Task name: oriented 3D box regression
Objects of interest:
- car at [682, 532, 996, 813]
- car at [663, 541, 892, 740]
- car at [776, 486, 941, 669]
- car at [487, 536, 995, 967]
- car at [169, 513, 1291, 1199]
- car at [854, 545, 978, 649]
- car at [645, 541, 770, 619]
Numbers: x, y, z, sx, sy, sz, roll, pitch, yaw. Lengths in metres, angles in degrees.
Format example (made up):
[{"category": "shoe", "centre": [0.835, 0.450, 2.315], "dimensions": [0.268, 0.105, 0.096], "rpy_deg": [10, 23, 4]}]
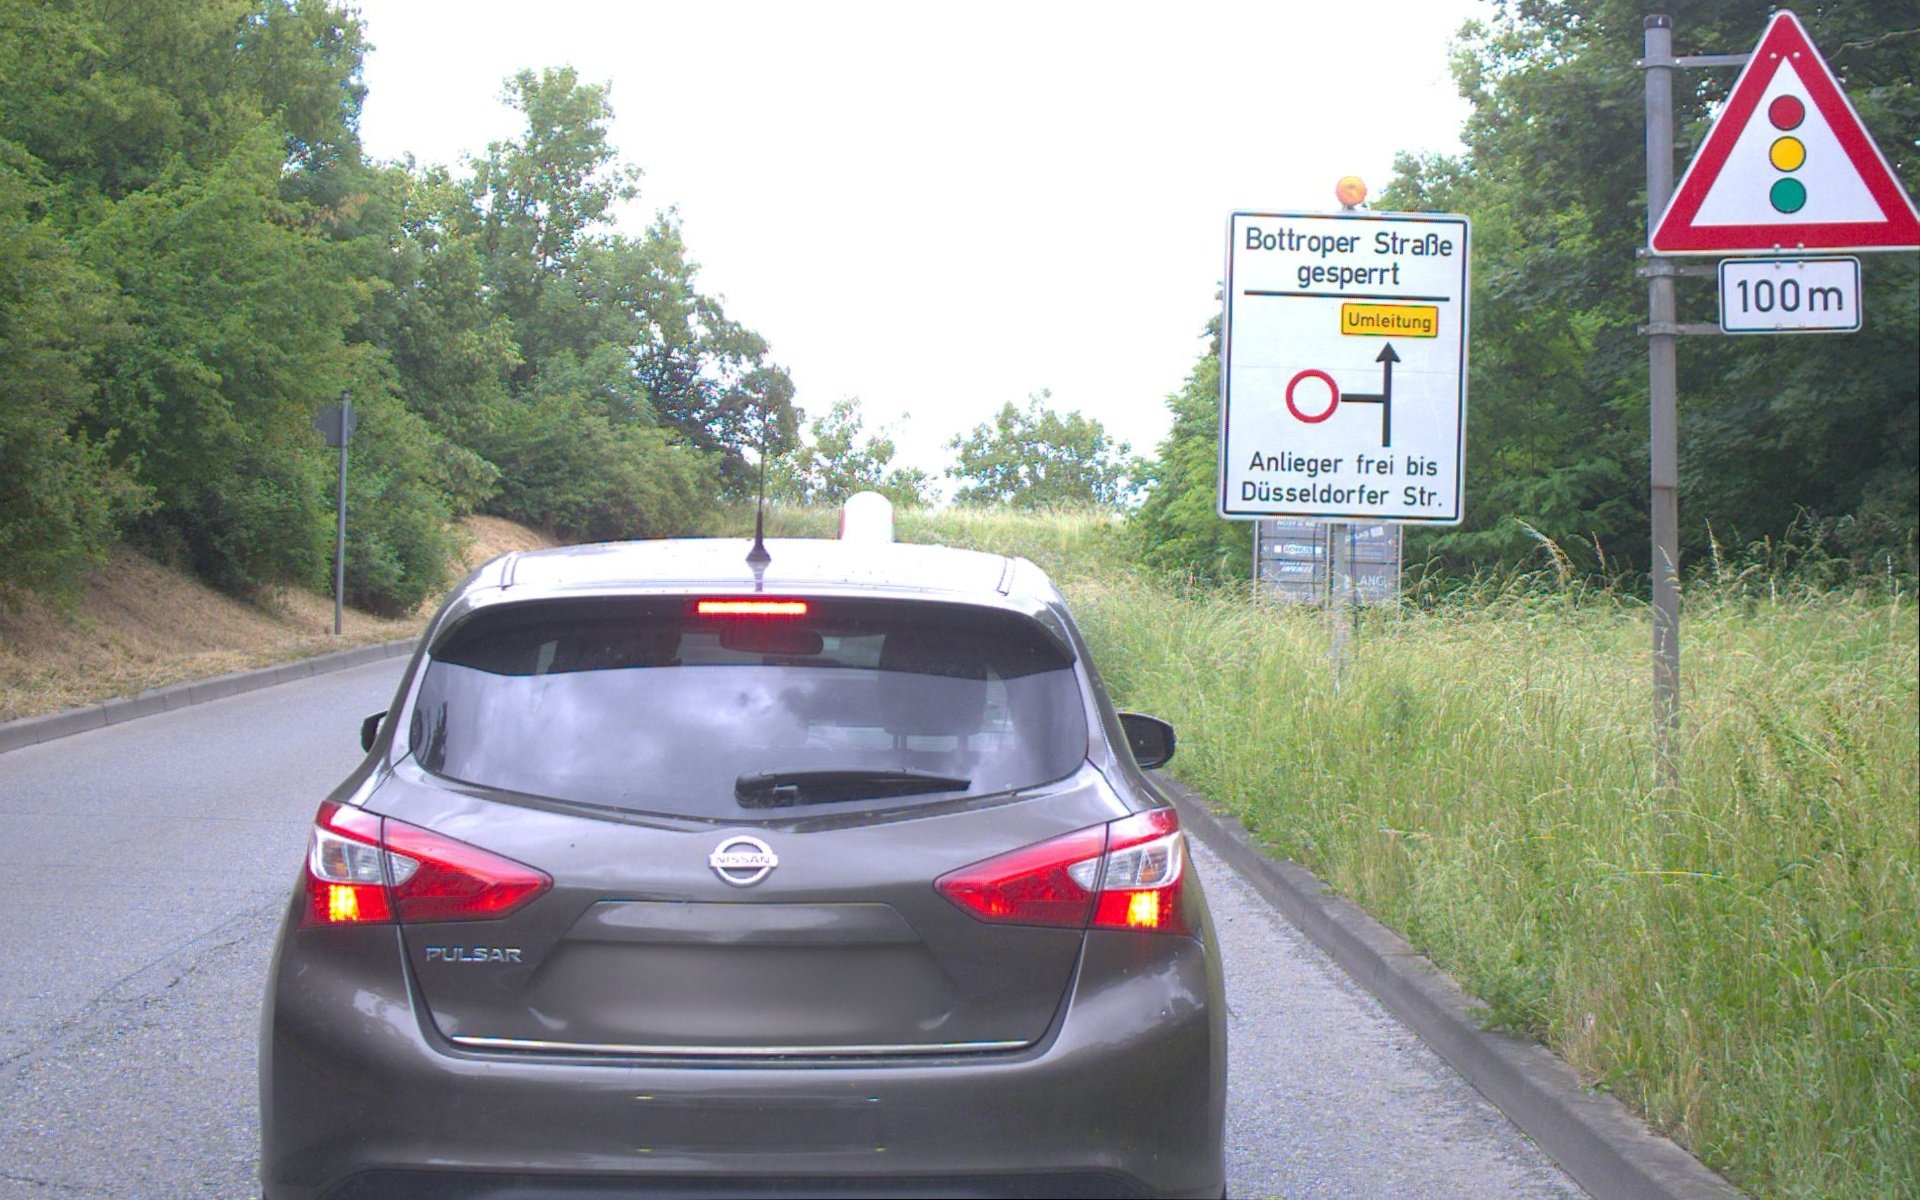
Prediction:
[{"category": "car", "centre": [-0.678, 0.371, 20.815], "dimensions": [1.736, 1.551, 3.544], "rpy_deg": [0, 1, 0]}, {"category": "car", "centre": [-1.469, 0.284, 28.735], "dimensions": [1.736, 1.551, 3.544], "rpy_deg": [0, 1, 0]}, {"category": "car", "centre": [-1.079, -0.273, 38.118], "dimensions": [1.736, 1.928, 3.543], "rpy_deg": [0, 1, 0]}, {"category": "car", "centre": [-0.800, 0.515, 14.251], "dimensions": [1.830, 1.551, 3.625], "rpy_deg": [0, 1, 0]}, {"category": "car", "centre": [-0.441, 0.608, 7.384], "dimensions": [1.830, 1.551, 3.500], "rpy_deg": [0, 1, -2]}, {"category": "car", "centre": [-0.638, -0.068, 52.545], "dimensions": [1.736, 1.521, 3.543], "rpy_deg": [0, 1, 2]}, {"category": "car", "centre": [-4.684, -0.400, 64.183], "dimensions": [1.642, 1.395, 3.820], "rpy_deg": [1, 1, 6]}]
